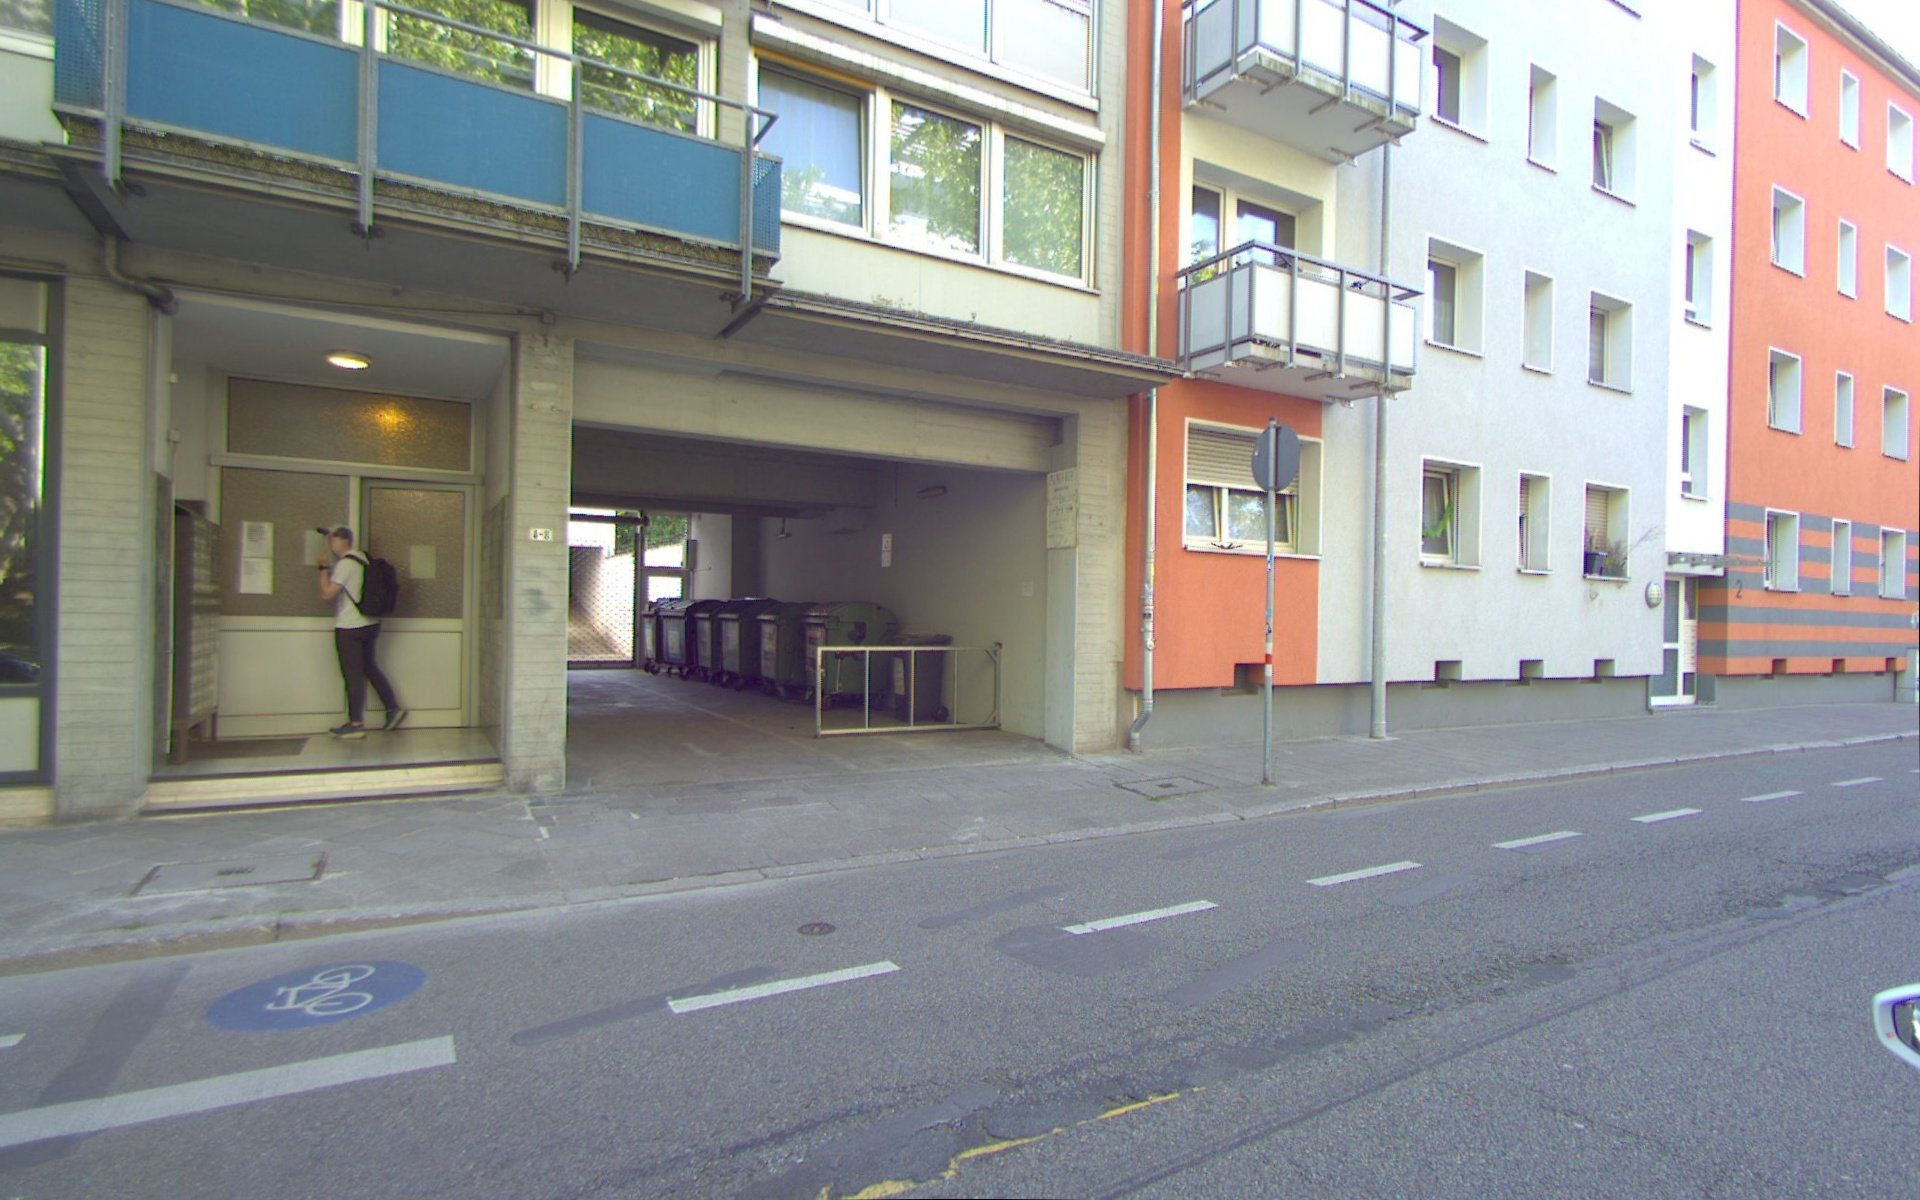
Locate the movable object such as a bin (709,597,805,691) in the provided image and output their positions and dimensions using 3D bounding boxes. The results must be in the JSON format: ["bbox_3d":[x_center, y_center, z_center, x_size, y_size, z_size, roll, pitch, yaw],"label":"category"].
[{"bbox_3d":[-3.372,0.708,16.616,1.186,1.467,1.319,2,0,-30],"label":"movable object such as a bin"}]

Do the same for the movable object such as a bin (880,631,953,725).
[{"bbox_3d":[-0.537,0.949,12.407,0.745,1.116,0.463,2,0,-30],"label":"movable object such as a bin"}]

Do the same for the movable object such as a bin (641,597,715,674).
[{"bbox_3d":[-5.617,0.696,19.979,1.186,1.467,1.027,2,0,-30],"label":"movable object such as a bin"}]

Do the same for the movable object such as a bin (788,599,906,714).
[{"bbox_3d":[-1.565,0.749,13.799,1.159,1.467,1.319,2,0,-30],"label":"movable object such as a bin"}]

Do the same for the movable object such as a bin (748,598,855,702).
[{"bbox_3d":[-2.405,0.730,15.132,1.186,1.467,1.319,2,0,-30],"label":"movable object such as a bin"}]

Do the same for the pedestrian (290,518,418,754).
[{"bbox_3d":[-5.177,0.293,8.588,0.574,1.904,0.782,2,0,44],"label":"pedestrian"}]

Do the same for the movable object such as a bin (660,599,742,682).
[{"bbox_3d":[-4.842,0.731,18.750,1.186,1.467,1.222,2,0,-30],"label":"movable object such as a bin"}]

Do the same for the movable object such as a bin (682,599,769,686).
[{"bbox_3d":[-4.142,0.729,17.707,1.186,1.467,1.114,2,0,-30],"label":"movable object such as a bin"}]
